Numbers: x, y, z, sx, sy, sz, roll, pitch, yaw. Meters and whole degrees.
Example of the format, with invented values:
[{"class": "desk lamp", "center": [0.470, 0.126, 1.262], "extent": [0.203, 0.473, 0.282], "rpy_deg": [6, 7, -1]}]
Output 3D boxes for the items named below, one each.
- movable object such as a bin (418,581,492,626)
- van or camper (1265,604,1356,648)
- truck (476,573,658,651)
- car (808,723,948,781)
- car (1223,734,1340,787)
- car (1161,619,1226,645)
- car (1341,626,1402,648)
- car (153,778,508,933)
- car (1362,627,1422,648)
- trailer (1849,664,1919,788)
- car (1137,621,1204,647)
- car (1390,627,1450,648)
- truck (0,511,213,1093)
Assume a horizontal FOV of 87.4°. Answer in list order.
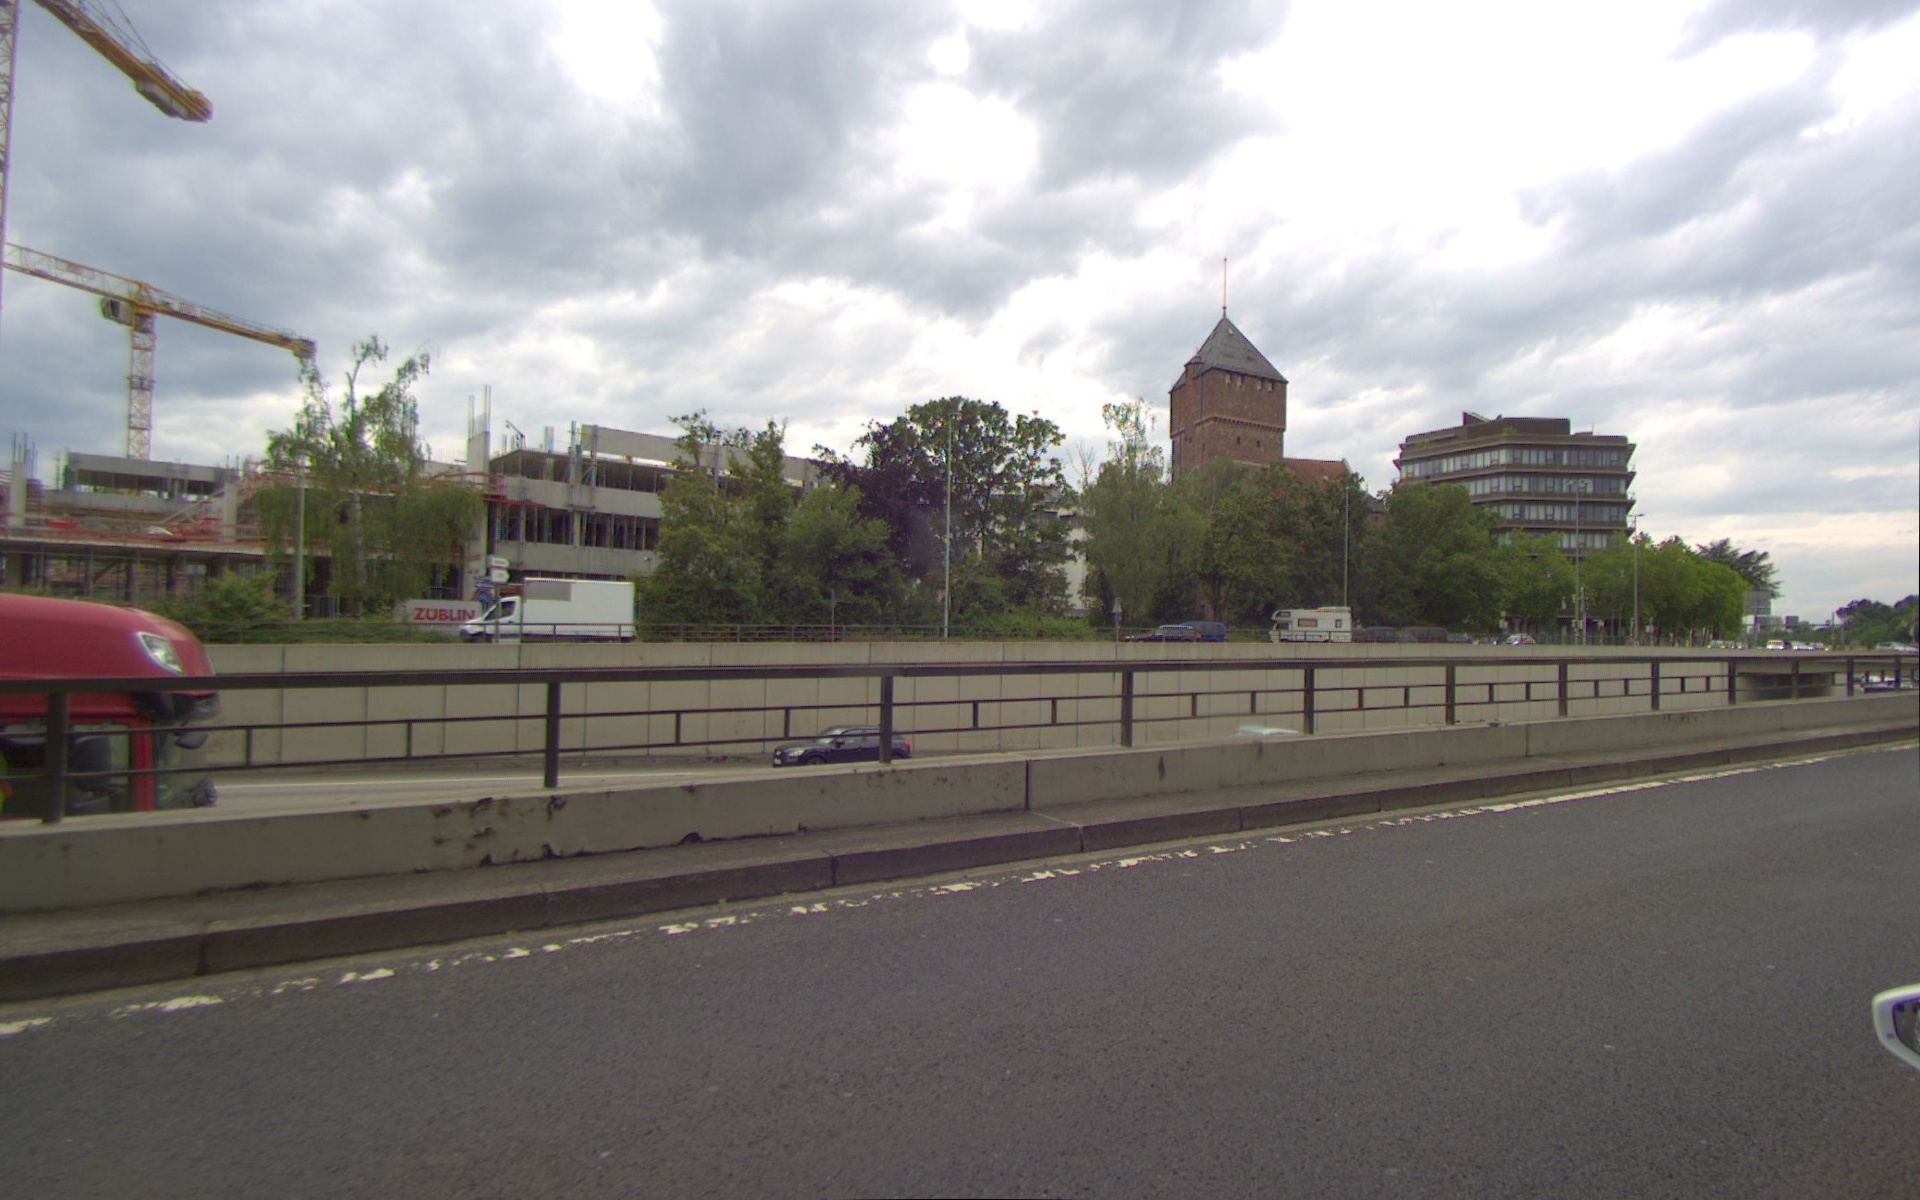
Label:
[{"class": "movable object such as a bin", "center": [-25.629, 0.205, 51.019], "extent": [3.037, 2.039, 1.743], "rpy_deg": [3, -6, -38]}, {"class": "van or camper", "center": [24.489, 1.813, 70.457], "extent": [5.806, 2.847, 2.147], "rpy_deg": [2, 0, 16]}, {"class": "truck", "center": [-16.510, 0.546, 42.669], "extent": [6.986, 3.026, 2.015], "rpy_deg": [2, 0, -18]}, {"class": "car", "center": [-2.452, 4.502, 30.113], "extent": [3.846, 1.460, 1.618], "rpy_deg": [2, -3, -27]}, {"class": "car", "center": [10.864, 5.383, 33.932], "extent": [3.851, 1.460, 1.616], "rpy_deg": [3, -3, -30]}, {"class": "car", "center": [14.825, 2.030, 63.974], "extent": [3.919, 1.460, 1.630], "rpy_deg": [2, 0, 9]}, {"class": "car", "center": [30.528, 2.747, 74.657], "extent": [3.919, 1.460, 1.630], "rpy_deg": [2, 0, 9]}, {"class": "car", "center": [-8.363, 3.358, 13.714], "extent": [3.851, 1.460, 1.616], "rpy_deg": [3, -3, -30]}, {"class": "car", "center": [32.896, 2.839, 76.543], "extent": [3.919, 1.460, 1.630], "rpy_deg": [2, 0, 9]}, {"class": "trailer", "center": [38.669, 4.518, 38.186], "extent": [15.825, 4.089, 2.837], "rpy_deg": [2, -2, -32]}, {"class": "car", "center": [12.867, 2.077, 61.584], "extent": [3.919, 1.460, 1.630], "rpy_deg": [2, 0, 9]}, {"class": "car", "center": [35.840, 2.947, 78.375], "extent": [3.919, 1.460, 1.630], "rpy_deg": [2, 0, 9]}, {"class": "truck", "center": [-9.391, 1.376, 7.119], "extent": [6.129, 4.089, 2.693], "rpy_deg": [2, -2, -30]}]
